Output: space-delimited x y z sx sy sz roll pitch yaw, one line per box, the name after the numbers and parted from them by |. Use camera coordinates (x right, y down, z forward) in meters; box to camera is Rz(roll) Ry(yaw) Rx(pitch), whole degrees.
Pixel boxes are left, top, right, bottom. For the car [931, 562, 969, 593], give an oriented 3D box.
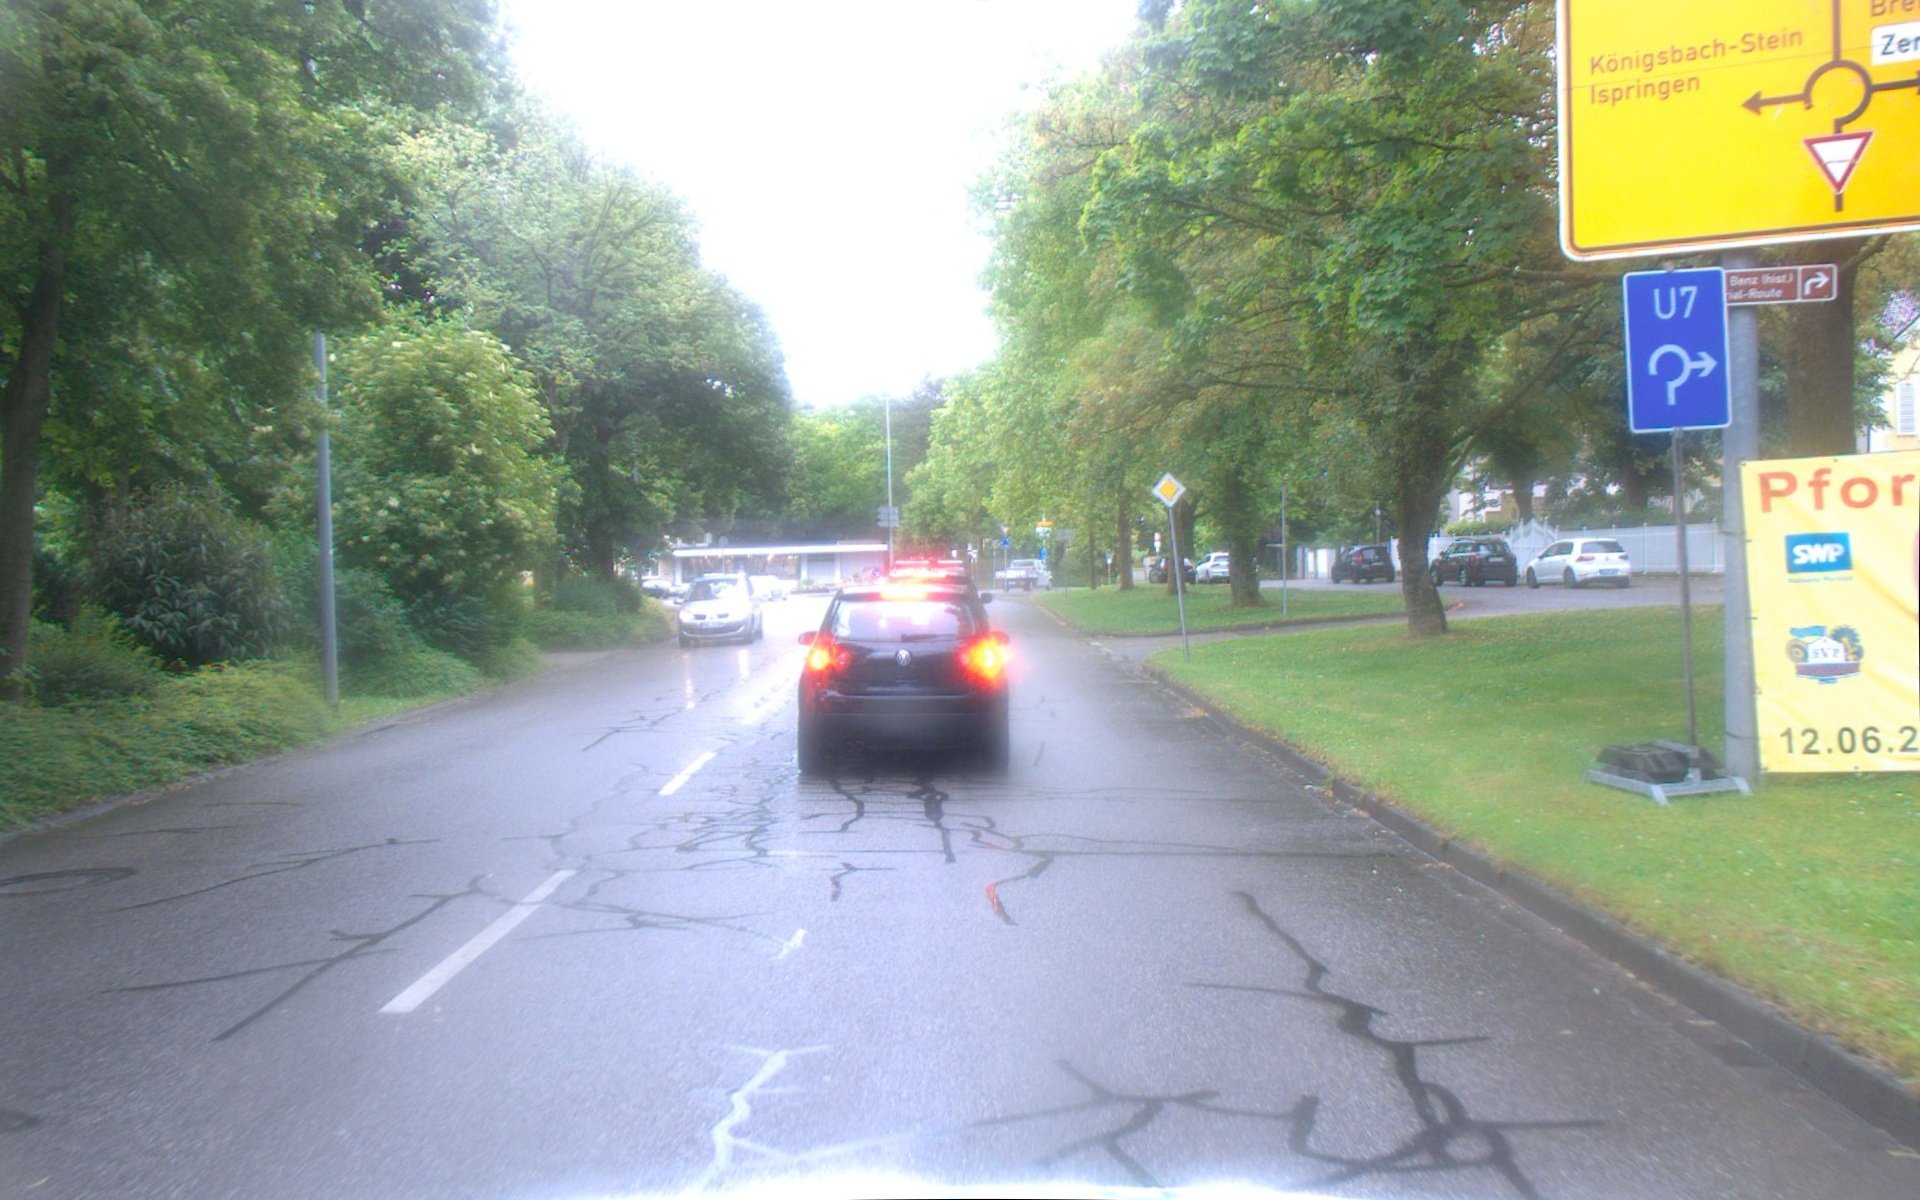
-0.515 -1.192 88.423 1.670 1.539 3.675 -2 1 4 | car

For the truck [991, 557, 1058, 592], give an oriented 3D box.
4.079 -1.600 103.565 2.368 2.039 5.149 -2 1 24 | truck

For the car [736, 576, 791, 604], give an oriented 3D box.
-11.208 -0.580 94.247 1.592 1.452 3.967 -4 2 -30 | car

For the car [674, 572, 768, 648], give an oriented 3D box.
-5.700 0.198 39.869 1.728 1.642 4.140 -3 1 -2 | car

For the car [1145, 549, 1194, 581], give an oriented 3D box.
10.212 -1.725 80.790 1.767 1.409 4.000 -4 1 -1 | car

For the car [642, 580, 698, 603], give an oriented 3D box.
-20.719 -0.611 118.126 3.901 1.417 1.796 -3 1 38 | car

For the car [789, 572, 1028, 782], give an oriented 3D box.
-0.400 0.560 14.244 1.762 1.542 3.753 -1 0 -1 | car

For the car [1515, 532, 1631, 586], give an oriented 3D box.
18.037 -1.223 48.848 1.585 1.434 4.005 -3 2 -6 | car

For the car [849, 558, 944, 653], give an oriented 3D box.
-1.266 0.091 34.530 1.818 1.816 4.000 -2 0 -1 | car

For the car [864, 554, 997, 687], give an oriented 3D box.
-0.434 0.251 25.284 1.818 1.815 4.000 -2 1 -1 | car

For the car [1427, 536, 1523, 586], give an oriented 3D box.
17.504 -1.336 56.387 1.766 1.556 4.110 -3 2 -3 | car

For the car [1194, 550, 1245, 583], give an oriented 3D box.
12.690 -1.654 81.139 1.767 1.430 4.000 -4 1 -1 | car

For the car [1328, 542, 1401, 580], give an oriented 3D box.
16.665 -1.609 68.306 1.766 1.436 4.110 -3 2 -3 | car
